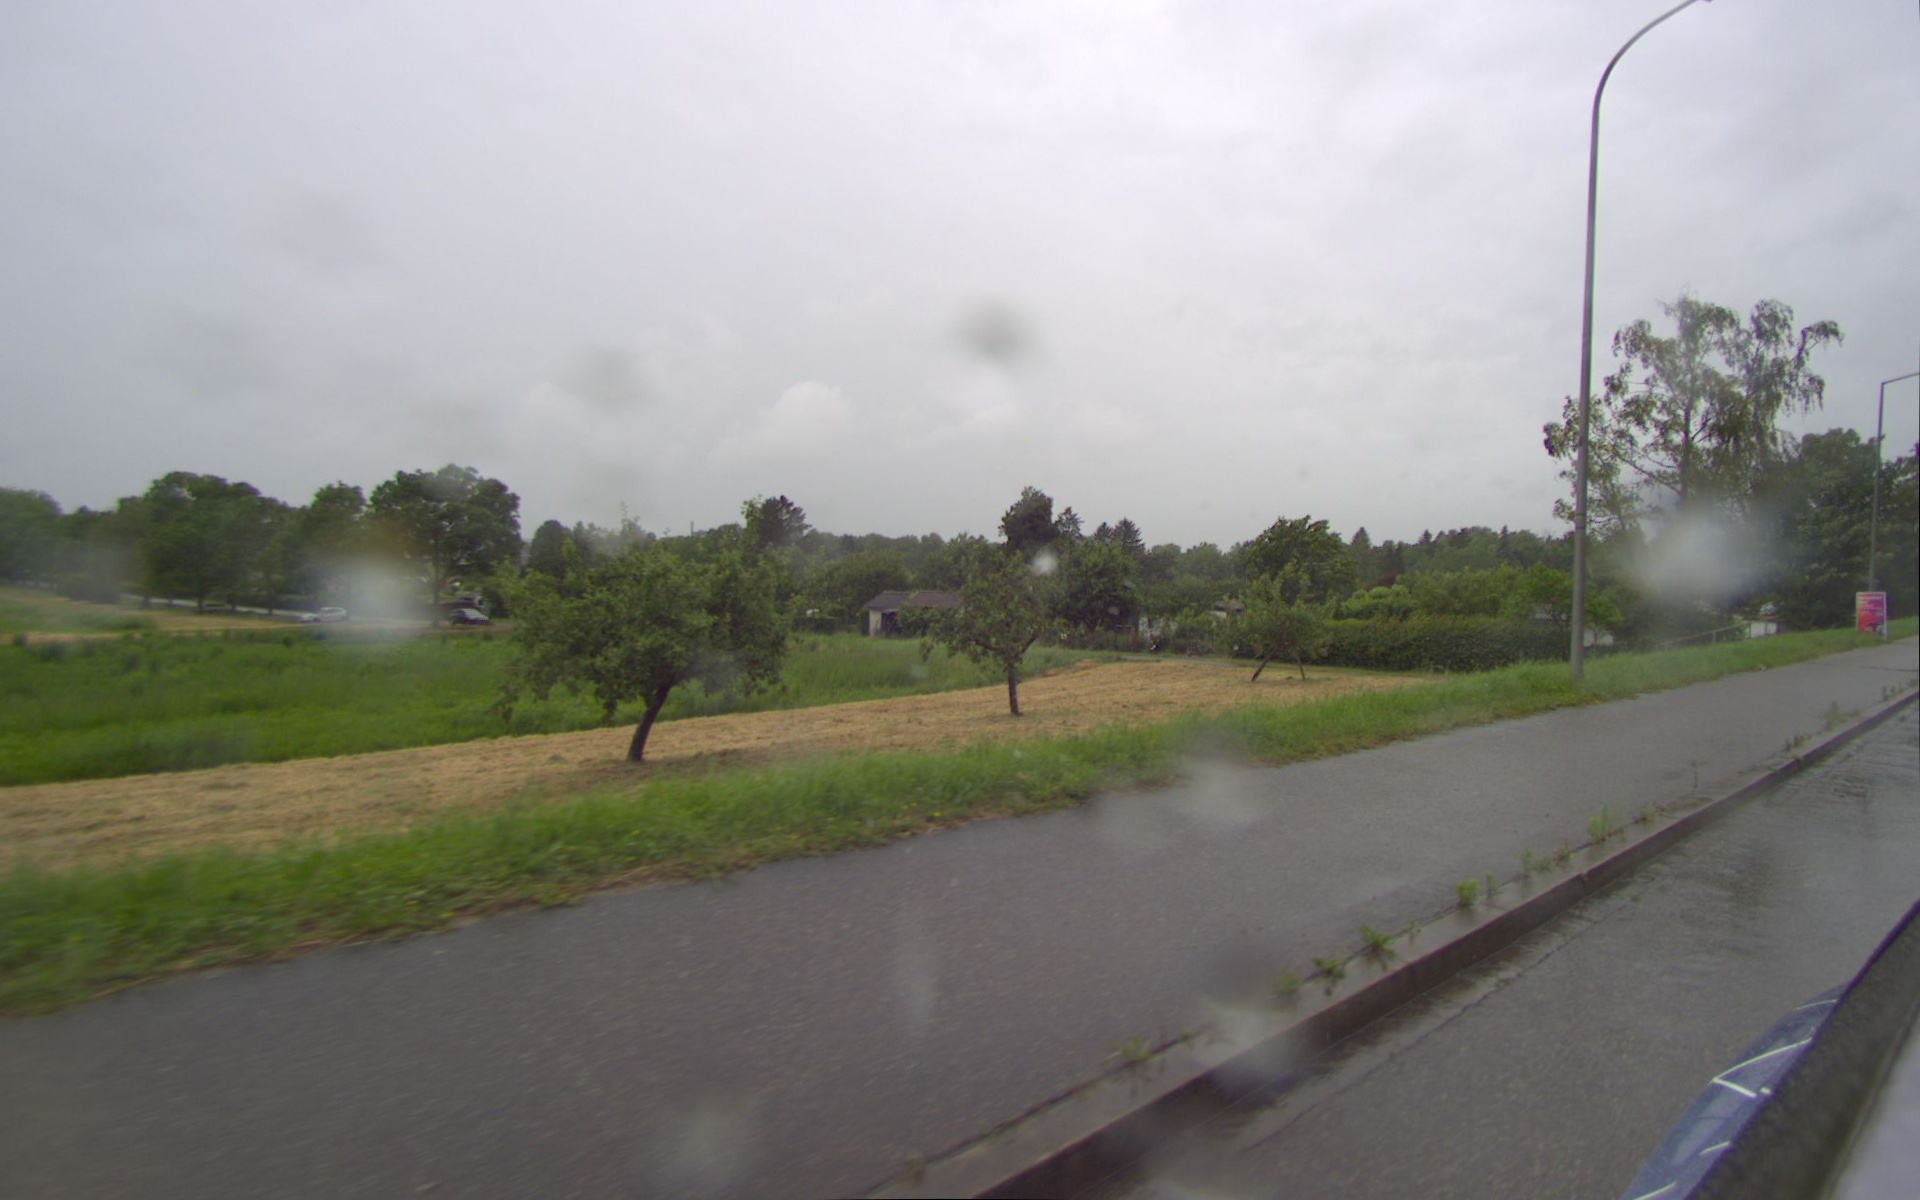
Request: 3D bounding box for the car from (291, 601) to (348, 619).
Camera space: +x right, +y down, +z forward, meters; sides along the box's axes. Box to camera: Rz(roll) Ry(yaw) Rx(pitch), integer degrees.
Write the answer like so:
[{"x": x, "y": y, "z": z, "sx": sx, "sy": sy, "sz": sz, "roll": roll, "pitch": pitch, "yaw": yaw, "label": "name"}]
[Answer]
[{"x": -59.185, "y": 0.909, "z": 93.586, "sx": 1.785, "sy": 1.529, "sz": 4.120, "roll": -1, "pitch": 0, "yaw": 31, "label": "car"}]
